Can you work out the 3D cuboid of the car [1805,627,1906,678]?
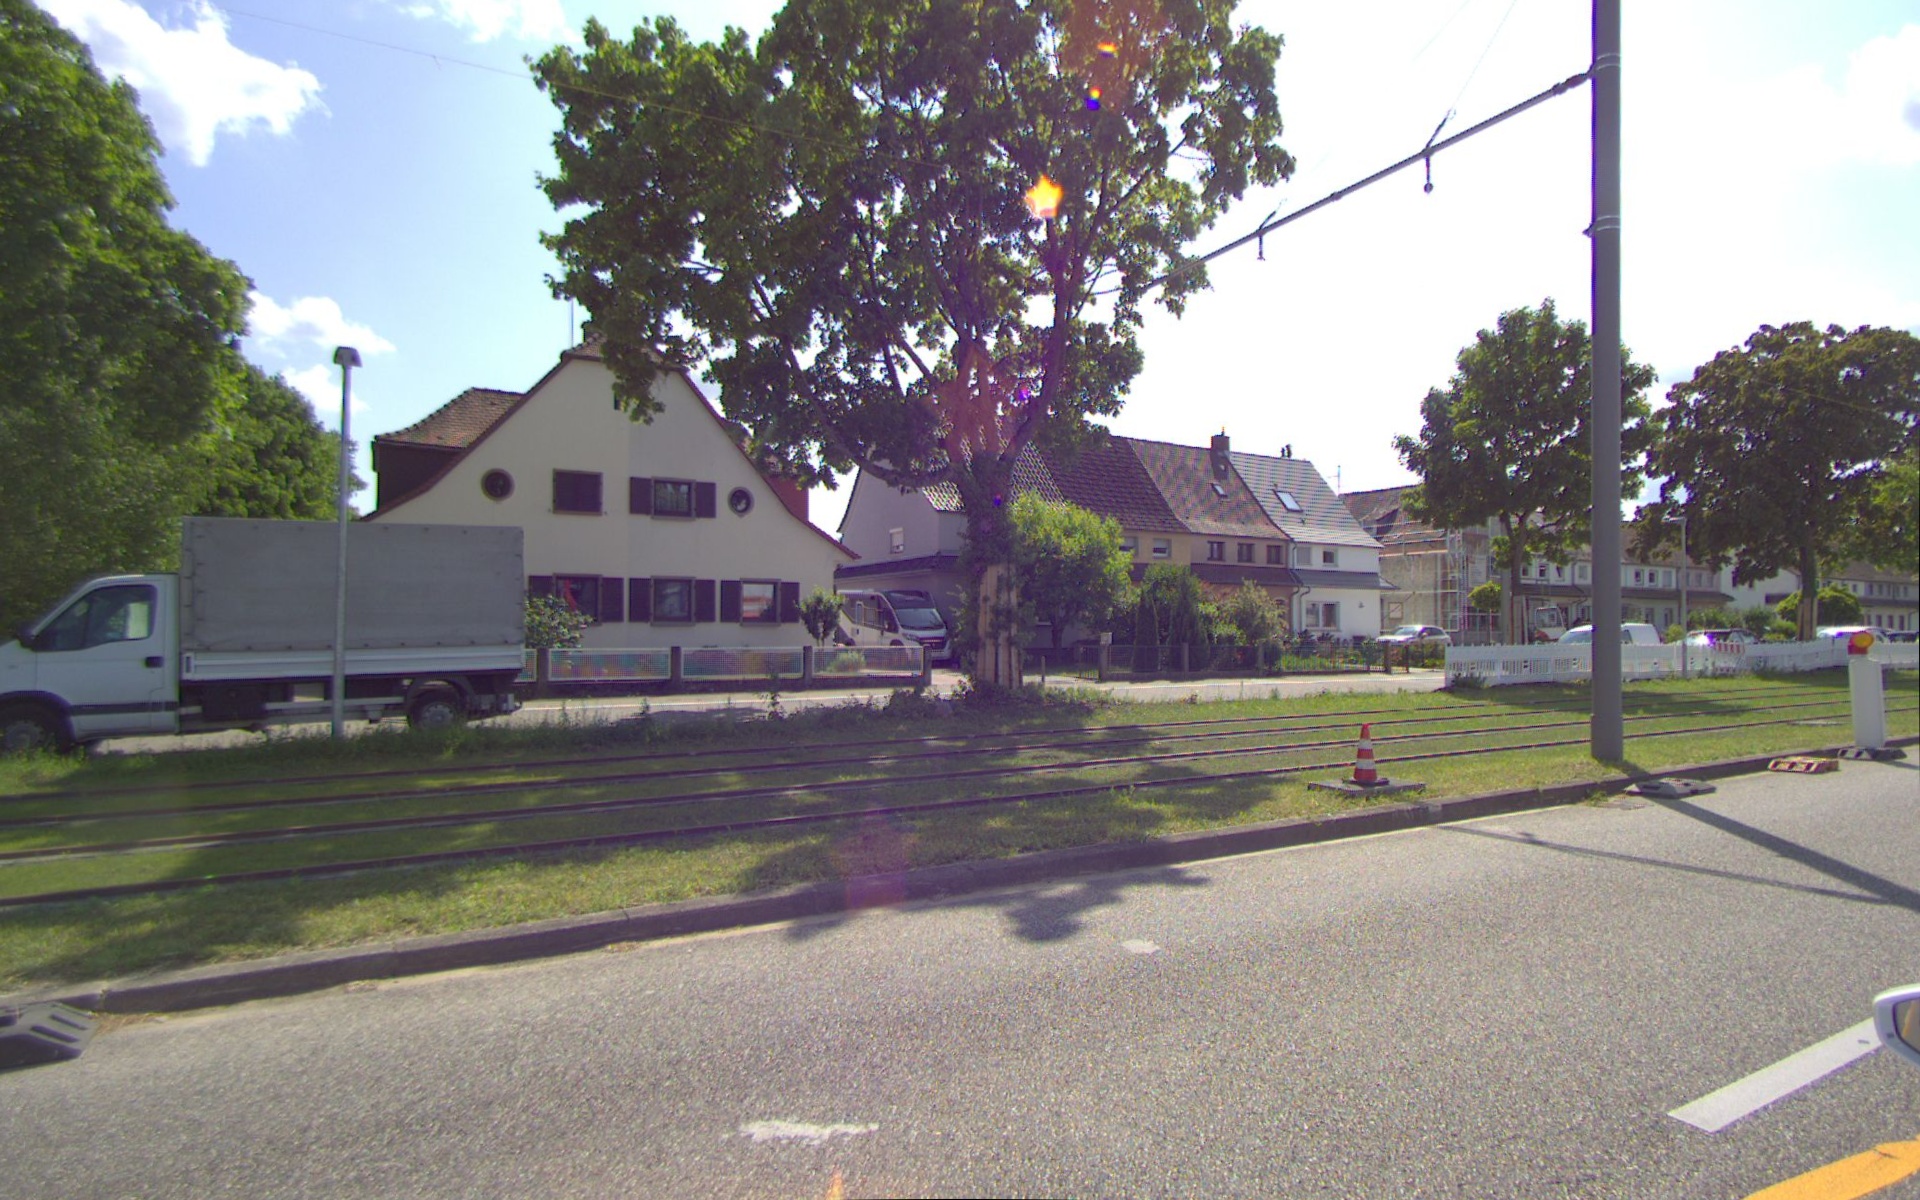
[{"bbox_3d":[35.363,2.029,39.642,4.079,1.892,1.768,1,-2,-30],"label":"car"}]

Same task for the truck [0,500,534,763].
[{"bbox_3d":[-8.833,0.405,12.972,5.906,2.817,2.255,1,-2,-31],"label":"truck"}]

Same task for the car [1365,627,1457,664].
[{"bbox_3d":[19.991,1.990,44.497,3.952,1.539,1.768,1,-2,-30],"label":"car"}]

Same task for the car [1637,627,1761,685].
[{"bbox_3d":[24.292,1.788,33.004,4.177,1.797,1.768,1,-2,-30],"label":"car"}]

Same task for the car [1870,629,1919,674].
[{"bbox_3d":[40.647,2.162,42.699,4.079,1.829,1.768,1,-2,-30],"label":"car"}]

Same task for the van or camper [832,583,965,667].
[{"bbox_3d":[-2.374,0.940,36.653,2.269,2.801,6.051,1,-2,-32],"label":"van or camper"}]

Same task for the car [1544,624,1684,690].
[{"bbox_3d":[19.574,1.643,30.024,4.312,1.845,1.768,1,-2,-30],"label":"car"}]

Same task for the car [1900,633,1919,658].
[{"bbox_3d":[70.031,3.300,72.749,4.079,1.745,1.768,1,-2,-30],"label":"car"}]
